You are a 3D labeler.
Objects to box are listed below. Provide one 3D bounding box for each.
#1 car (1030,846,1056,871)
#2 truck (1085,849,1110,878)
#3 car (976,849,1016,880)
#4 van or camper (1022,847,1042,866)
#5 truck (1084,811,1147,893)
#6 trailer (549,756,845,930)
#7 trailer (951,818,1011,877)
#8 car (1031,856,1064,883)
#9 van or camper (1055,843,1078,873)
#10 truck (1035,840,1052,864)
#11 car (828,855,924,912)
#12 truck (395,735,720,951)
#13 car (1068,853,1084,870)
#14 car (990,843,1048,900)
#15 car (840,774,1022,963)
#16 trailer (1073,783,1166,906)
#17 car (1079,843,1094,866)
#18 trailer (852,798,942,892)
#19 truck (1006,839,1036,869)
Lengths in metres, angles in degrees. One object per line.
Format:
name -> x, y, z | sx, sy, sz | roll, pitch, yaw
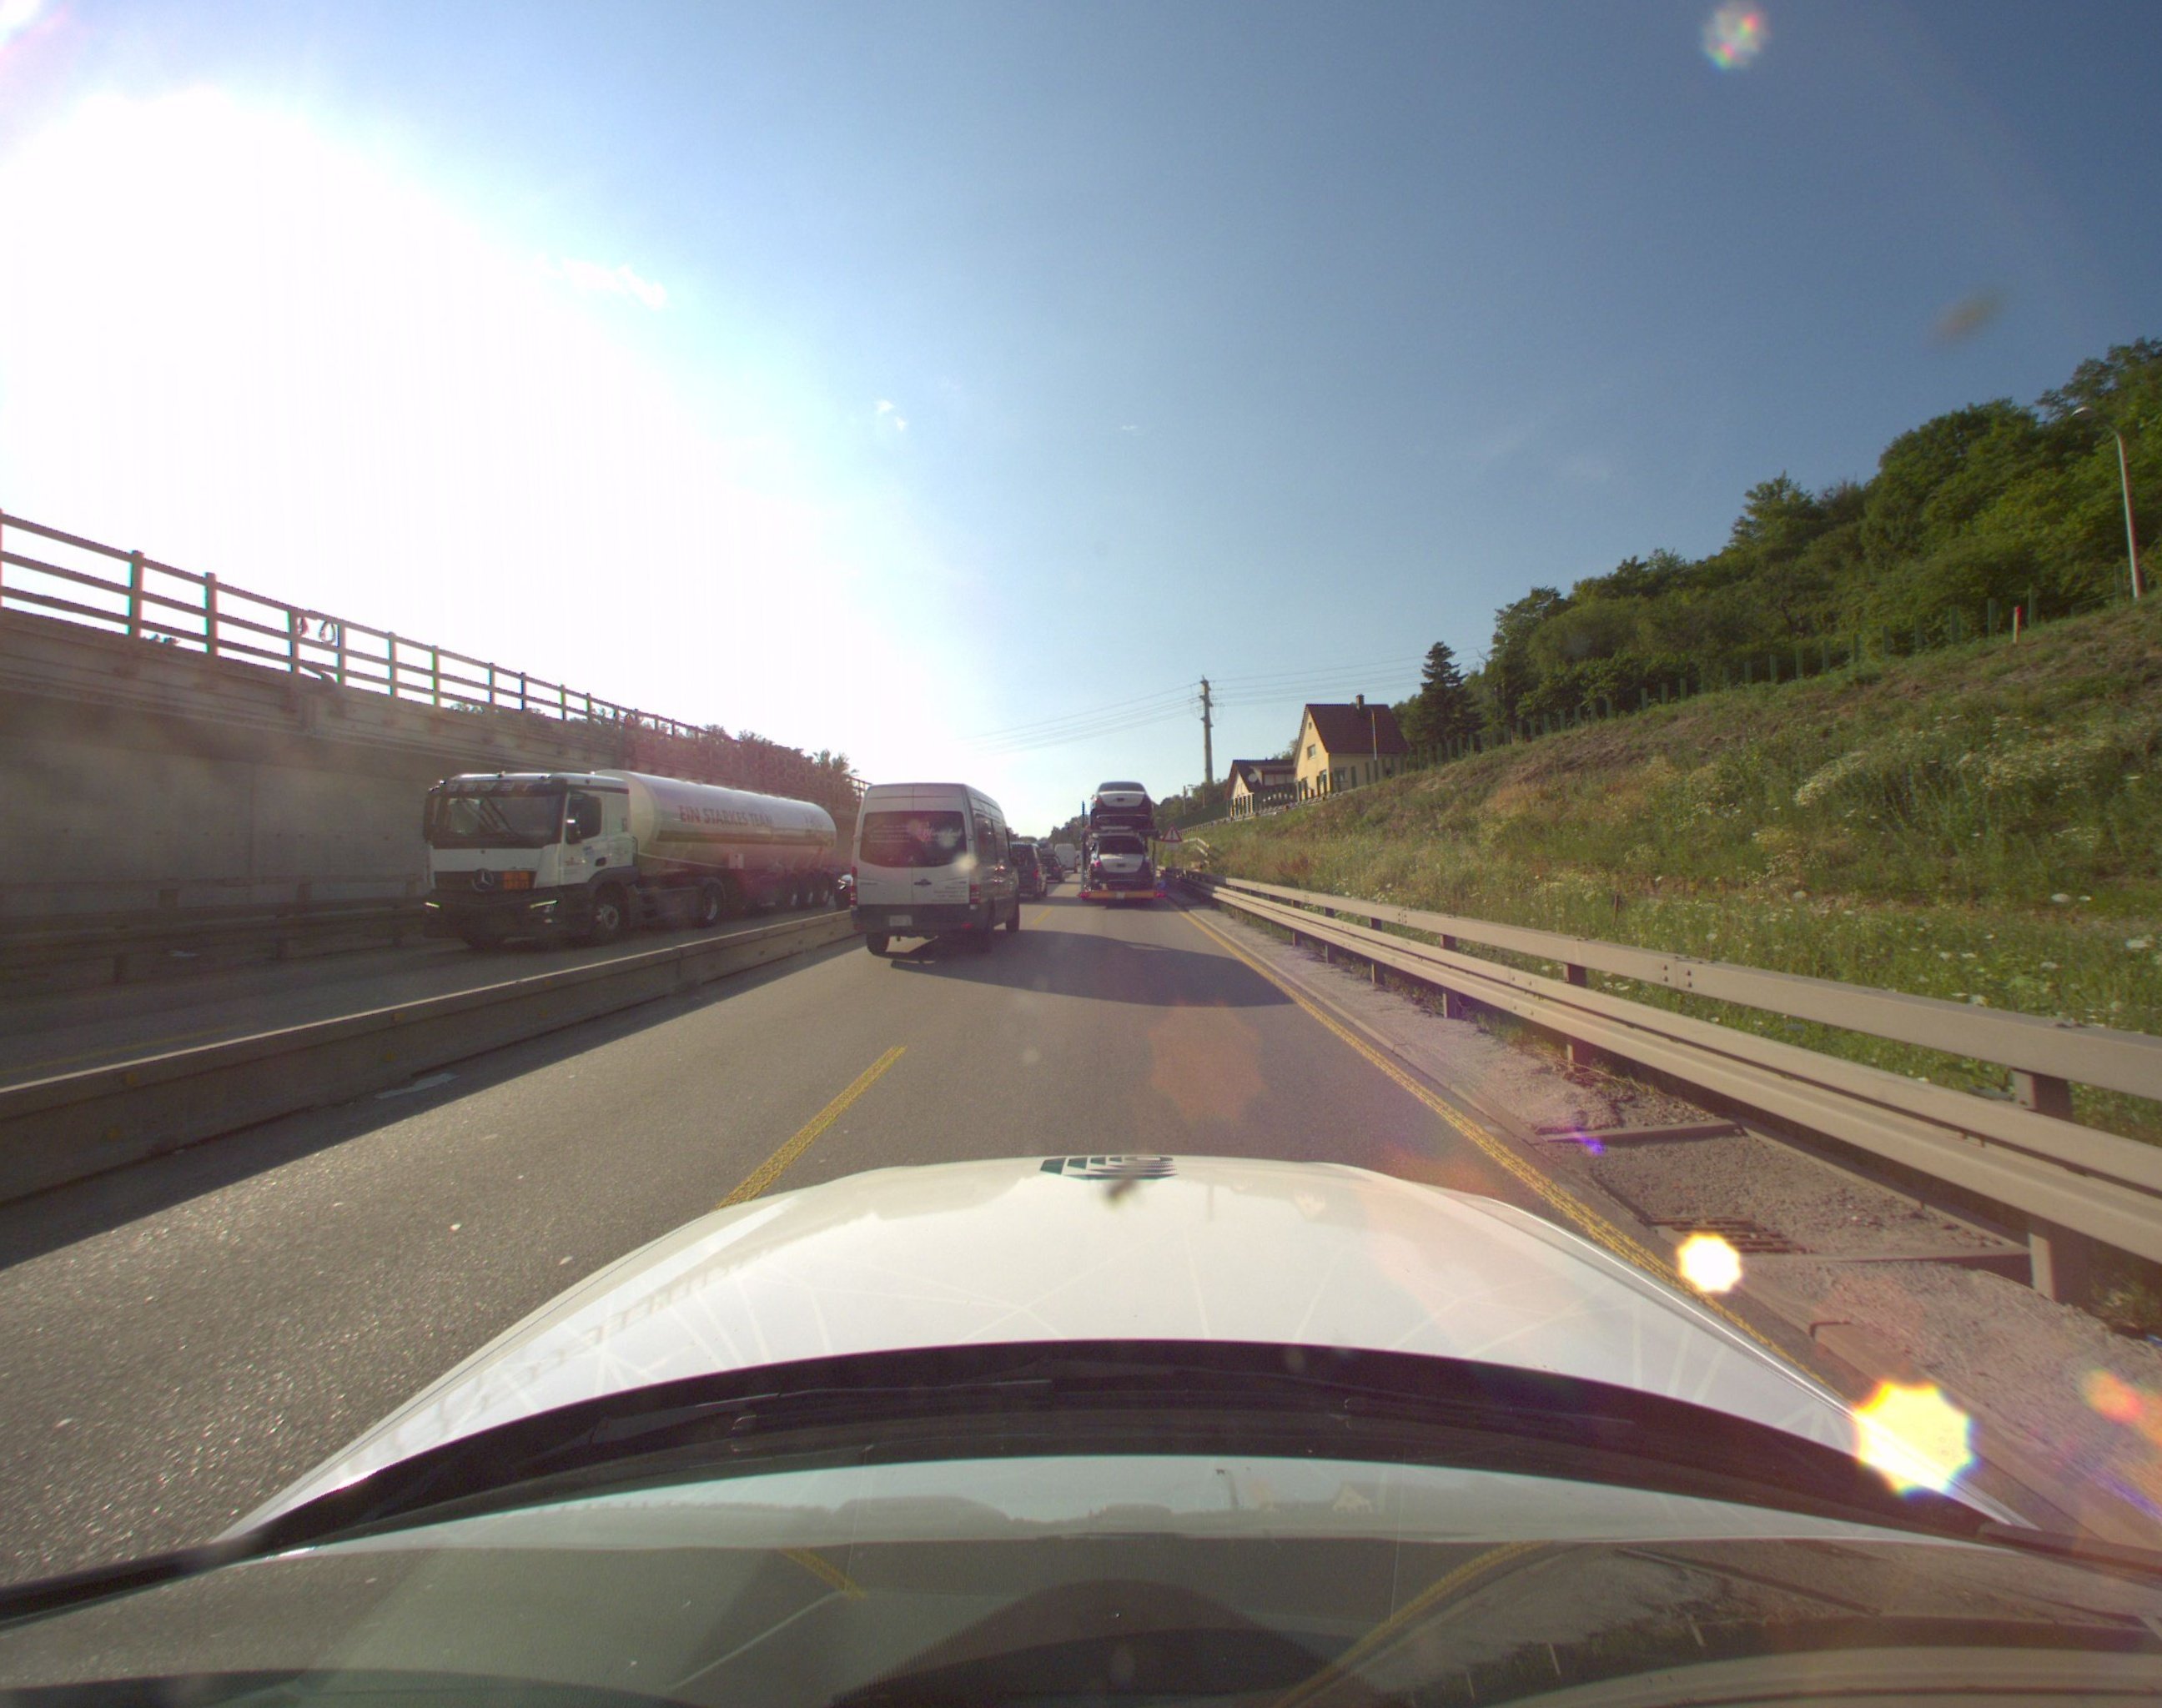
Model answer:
car -> -3.959, 0.519, 85.504 | 2.463, 2.534, 4.000 | -1, -1, 1
truck -> 2.865, 1.604, 139.682 | 4.050, 4.679, 10.595 | -1, 0, 1
car -> -4.650, 0.599, 45.295 | 1.635, 1.645, 4.689 | 0, -1, 1
van or camper -> -7.369, 0.349, 123.071 | 2.304, 2.662, 6.456 | -3, 0, 1
truck -> 1.595, -0.047, 38.755 | 2.672, 3.535, 7.196 | 0, -1, 2
trailer -> -9.356, -0.128, 21.892 | 2.547, 3.527, 10.685 | 0, -1, 2
trailer -> -7.837, -0.348, 66.023 | 2.903, 4.240, 13.769 | 0, -1, 1
car -> -1.926, 0.876, 47.622 | 1.720, 1.522, 3.973 | 0, 0, 0
van or camper -> -1.283, 0.396, 74.299 | 1.962, 2.592, 5.041 | 0, -1, 0
truck -> -6.878, -0.326, 150.848 | 2.616, 4.112, 9.625 | -4, 0, 0
car -> -6.050, 0.816, 24.567 | 1.719, 1.557, 4.298 | 0, 0, 1
truck -> -9.509, -0.128, 15.661 | 2.539, 3.409, 5.532 | 0, -1, 1
car -> -0.575, 0.979, 103.350 | 1.879, 2.100, 3.766 | -1, 0, 1
car -> -2.156, 0.628, 29.267 | 1.802, 1.904, 3.999 | 0, -1, 0
car -> -2.352, 0.207, 14.457 | 1.986, 2.648, 5.532 | -2, 0, 2
trailer -> 1.367, -0.174, 31.231 | 2.672, 3.535, 15.293 | 0, -1, 2
car -> 1.222, 0.102, 190.061 | 3.434, 5.035, 9.649 | -1, 0, -1
trailer -> -8.594, -0.410, 38.739 | 2.755, 4.141, 5.978 | 0, 0, 1
truck -> -7.275, 0.071, 99.617 | 2.706, 3.424, 8.140 | -4, -1, 0
